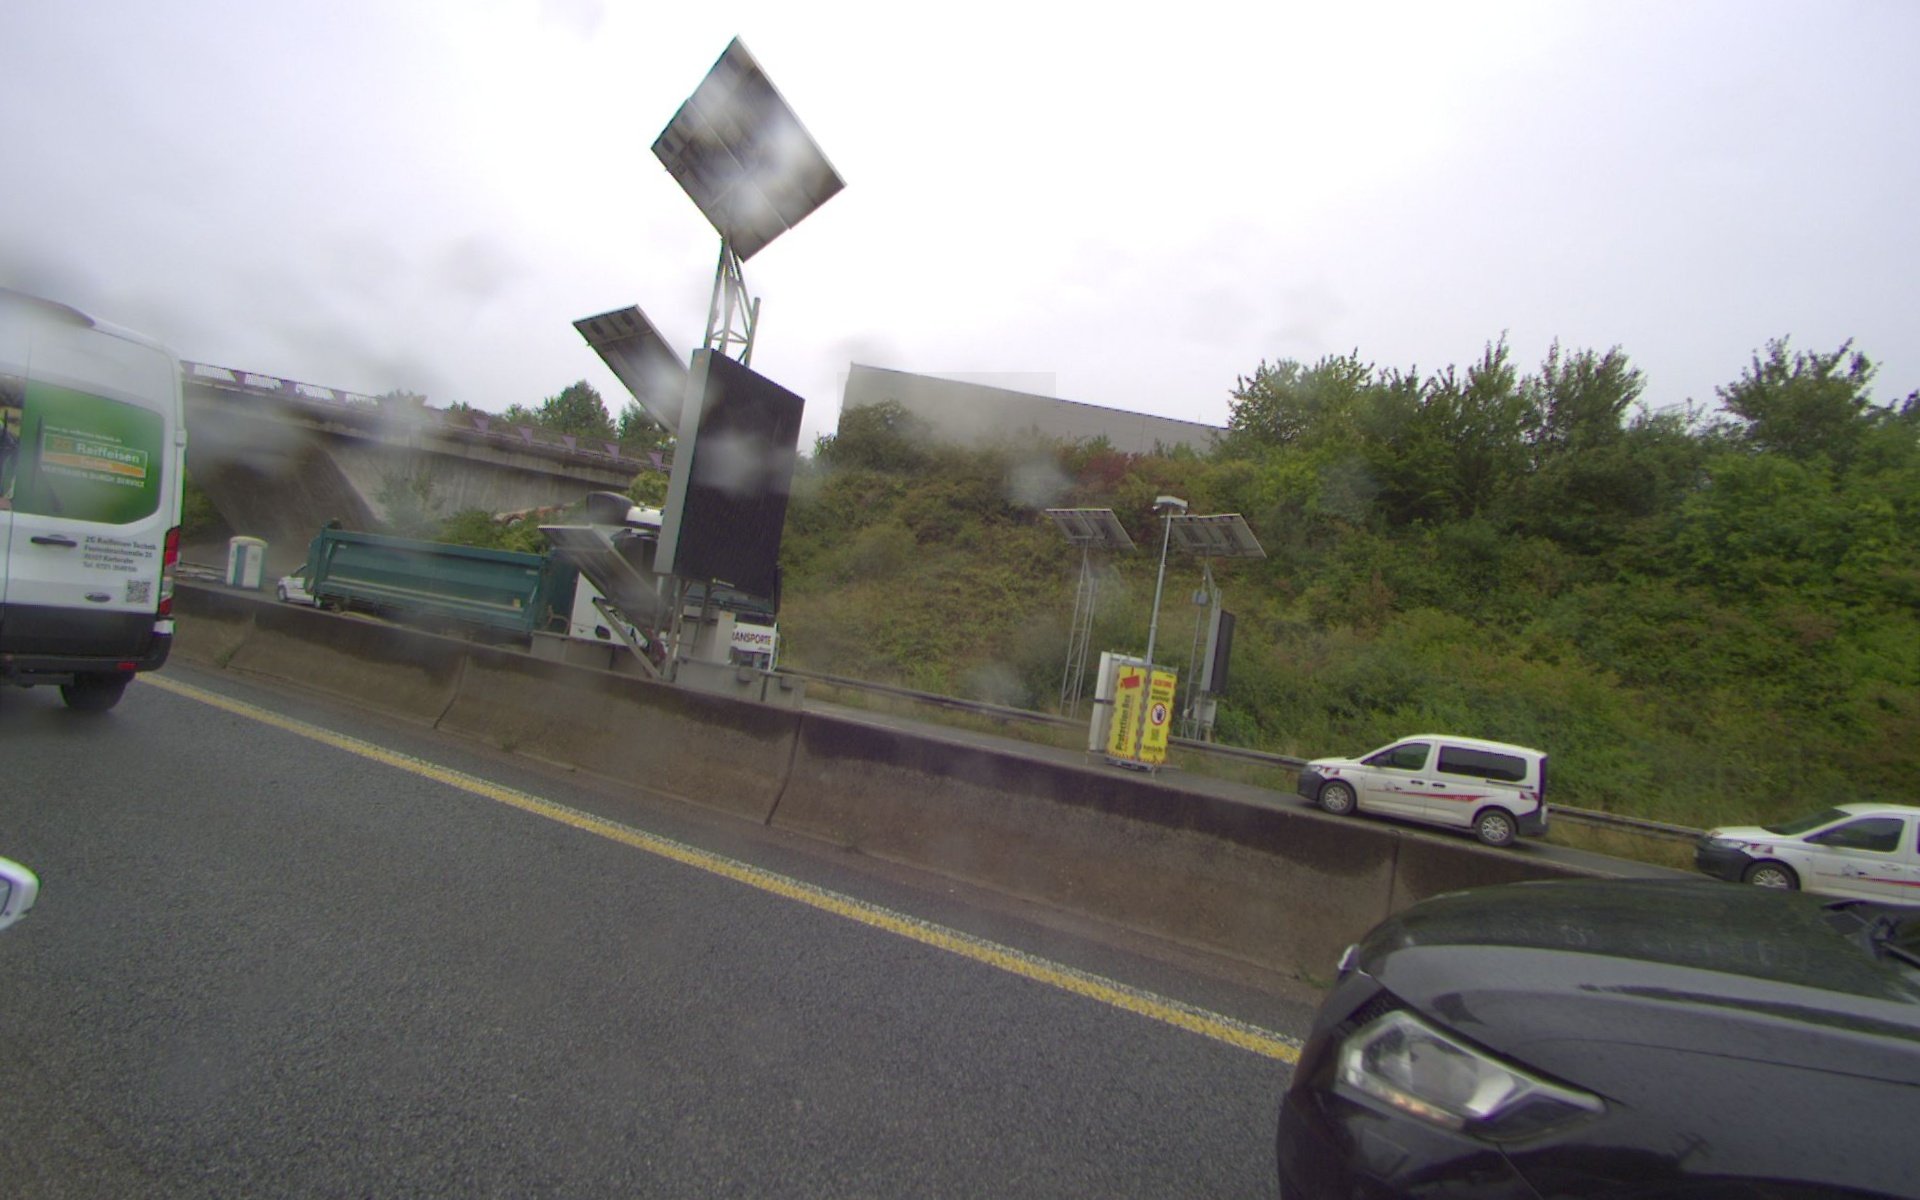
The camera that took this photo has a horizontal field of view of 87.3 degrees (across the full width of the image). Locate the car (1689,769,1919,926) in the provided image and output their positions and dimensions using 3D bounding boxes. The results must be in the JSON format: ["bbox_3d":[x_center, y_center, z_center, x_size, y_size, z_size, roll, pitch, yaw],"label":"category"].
[{"bbox_3d":[14.330,3.976,15.880,4.256,1.790,1.732,6,-2,30],"label":"car"}]

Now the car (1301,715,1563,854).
[{"bbox_3d":[8.949,3.399,19.212,4.196,1.778,1.732,6,-2,30],"label":"car"}]

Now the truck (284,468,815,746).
[{"bbox_3d":[-6.698,-0.102,15.615,8.967,3.168,2.525,6,-1,31],"label":"truck"}]

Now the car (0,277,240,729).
[{"bbox_3d":[-8.318,-0.831,7.708,6.015,2.707,2.148,6,-1,31],"label":"car"}]

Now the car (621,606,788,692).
[{"bbox_3d":[-7.482,1.408,29.335,4.651,1.850,1.945,6,-2,34],"label":"car"}]

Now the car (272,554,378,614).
[{"bbox_3d":[-25.129,-0.645,39.782,4.090,1.830,1.850,6,-2,34],"label":"car"}]

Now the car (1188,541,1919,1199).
[{"bbox_3d":[2.817,1.048,1.307,4.563,1.694,1.894,6,-2,30],"label":"car"}]

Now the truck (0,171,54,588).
[{"bbox_3d":[-22.806,-4.132,17.915,20.038,5.739,3.987,6,-1,32],"label":"truck"}]
